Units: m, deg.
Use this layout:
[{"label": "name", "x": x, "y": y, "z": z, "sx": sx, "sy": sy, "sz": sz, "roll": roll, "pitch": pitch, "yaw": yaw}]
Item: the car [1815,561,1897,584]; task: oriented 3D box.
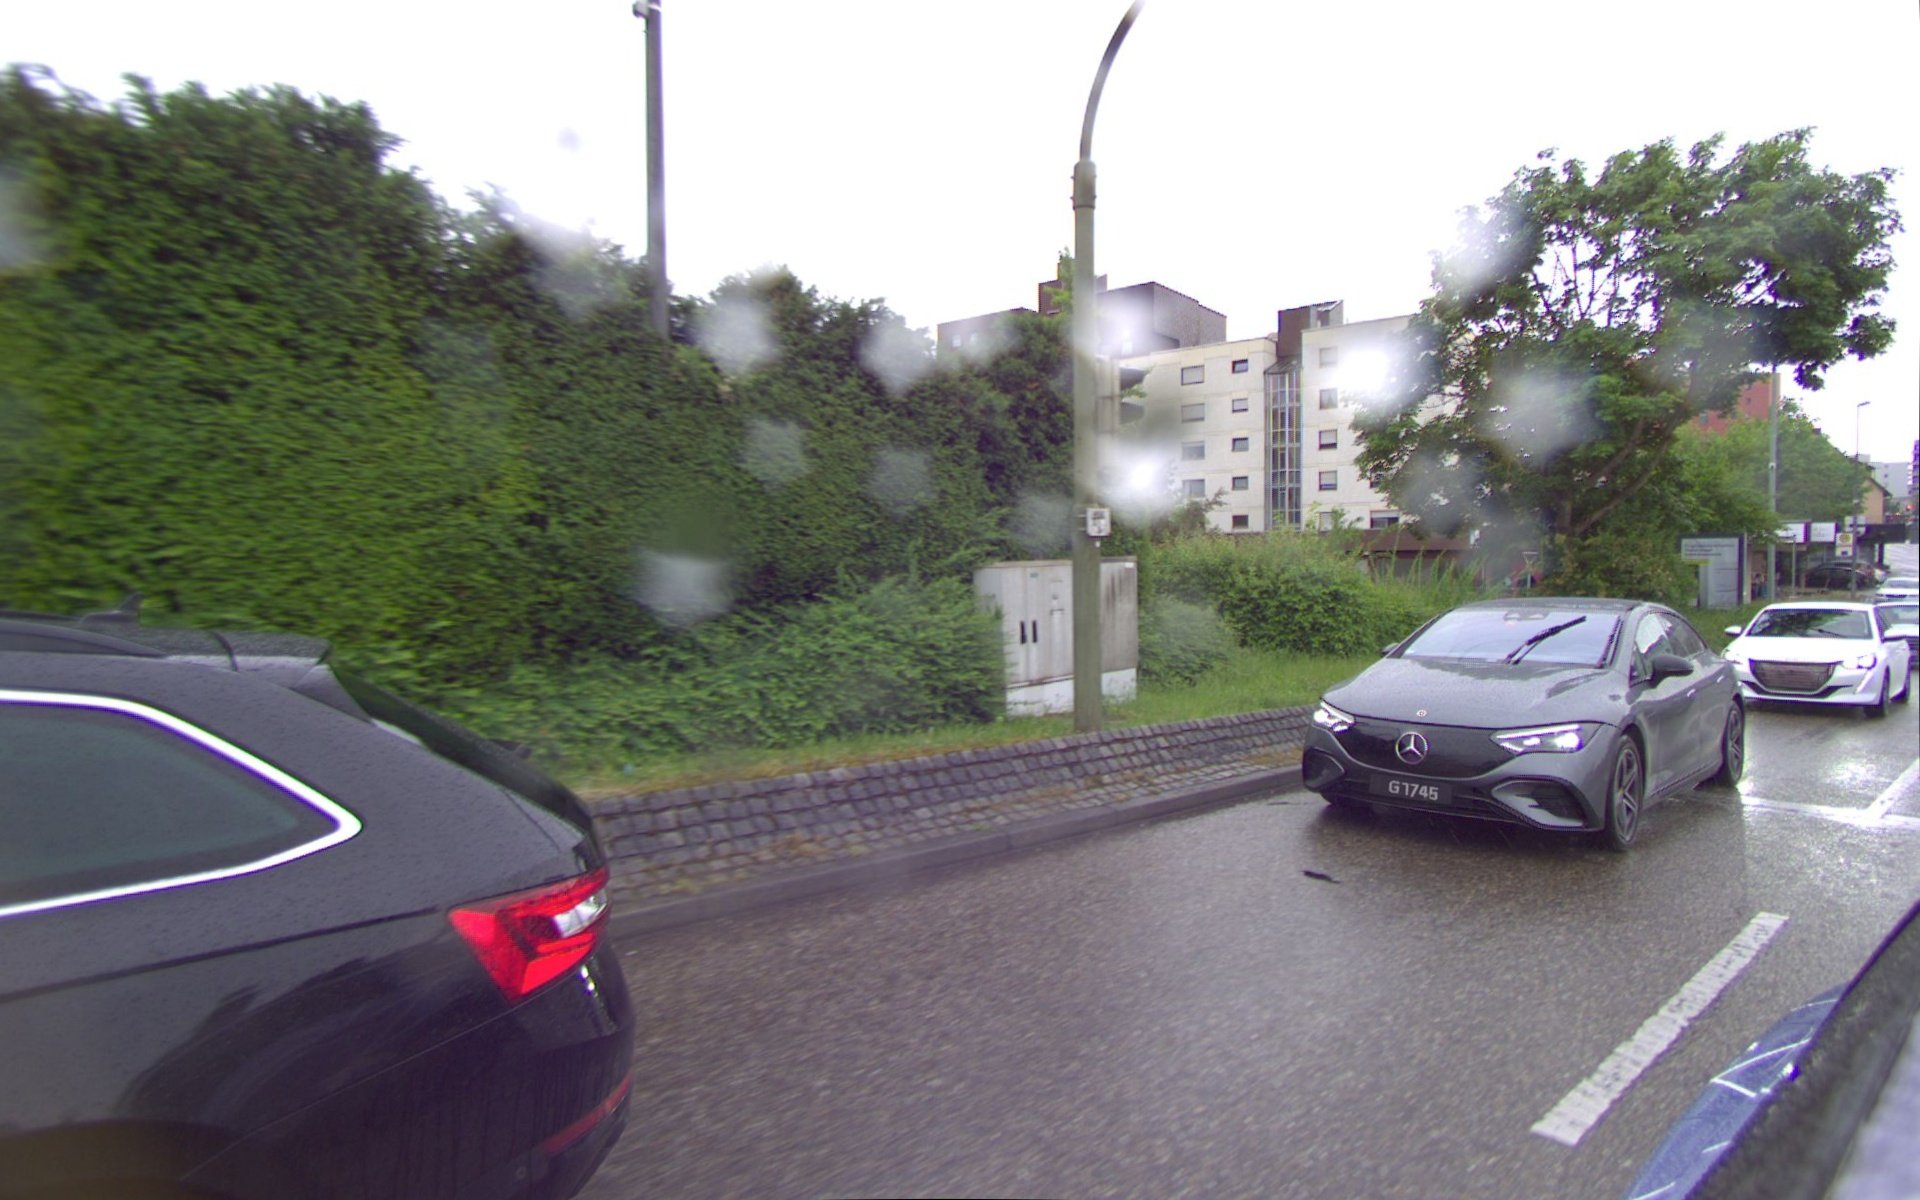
[{"label": "car", "x": 59.276, "y": -1.818, "z": 67.072, "sx": 3.981, "sy": 1.438, "sz": 1.971, "roll": 0, "pitch": 1, "yaw": 40}]

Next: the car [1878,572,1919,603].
[{"label": "car", "x": 46.197, "y": -0.631, "z": 49.091, "sx": 3.737, "sy": 1.367, "sz": 1.998, "roll": -1, "pitch": 4, "yaw": -41}]

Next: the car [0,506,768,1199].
[{"label": "car", "x": -2.705, "y": 0.688, "z": 1.188, "sx": 4.531, "sy": 1.526, "sz": 1.956, "roll": -1, "pitch": 0, "yaw": -43}]

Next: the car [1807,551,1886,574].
[{"label": "car", "x": 60.550, "y": -2.527, "z": 69.200, "sx": 3.981, "sy": 1.438, "sz": 1.678, "roll": 0, "pitch": 1, "yaw": 40}]

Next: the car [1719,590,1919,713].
[{"label": "car", "x": 12.115, "y": 0.604, "z": 14.040, "sx": 3.965, "sy": 1.415, "sz": 1.716, "roll": -1, "pitch": 0, "yaw": -41}]

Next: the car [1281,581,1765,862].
[{"label": "car", "x": 4.395, "y": 0.617, "z": 7.544, "sx": 4.474, "sy": 1.462, "sz": 1.833, "roll": -1, "pitch": 0, "yaw": -43}]

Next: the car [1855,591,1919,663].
[{"label": "car", "x": 20.587, "y": 0.533, "z": 21.607, "sx": 3.670, "sy": 1.394, "sz": 1.716, "roll": -1, "pitch": 0, "yaw": -41}]
